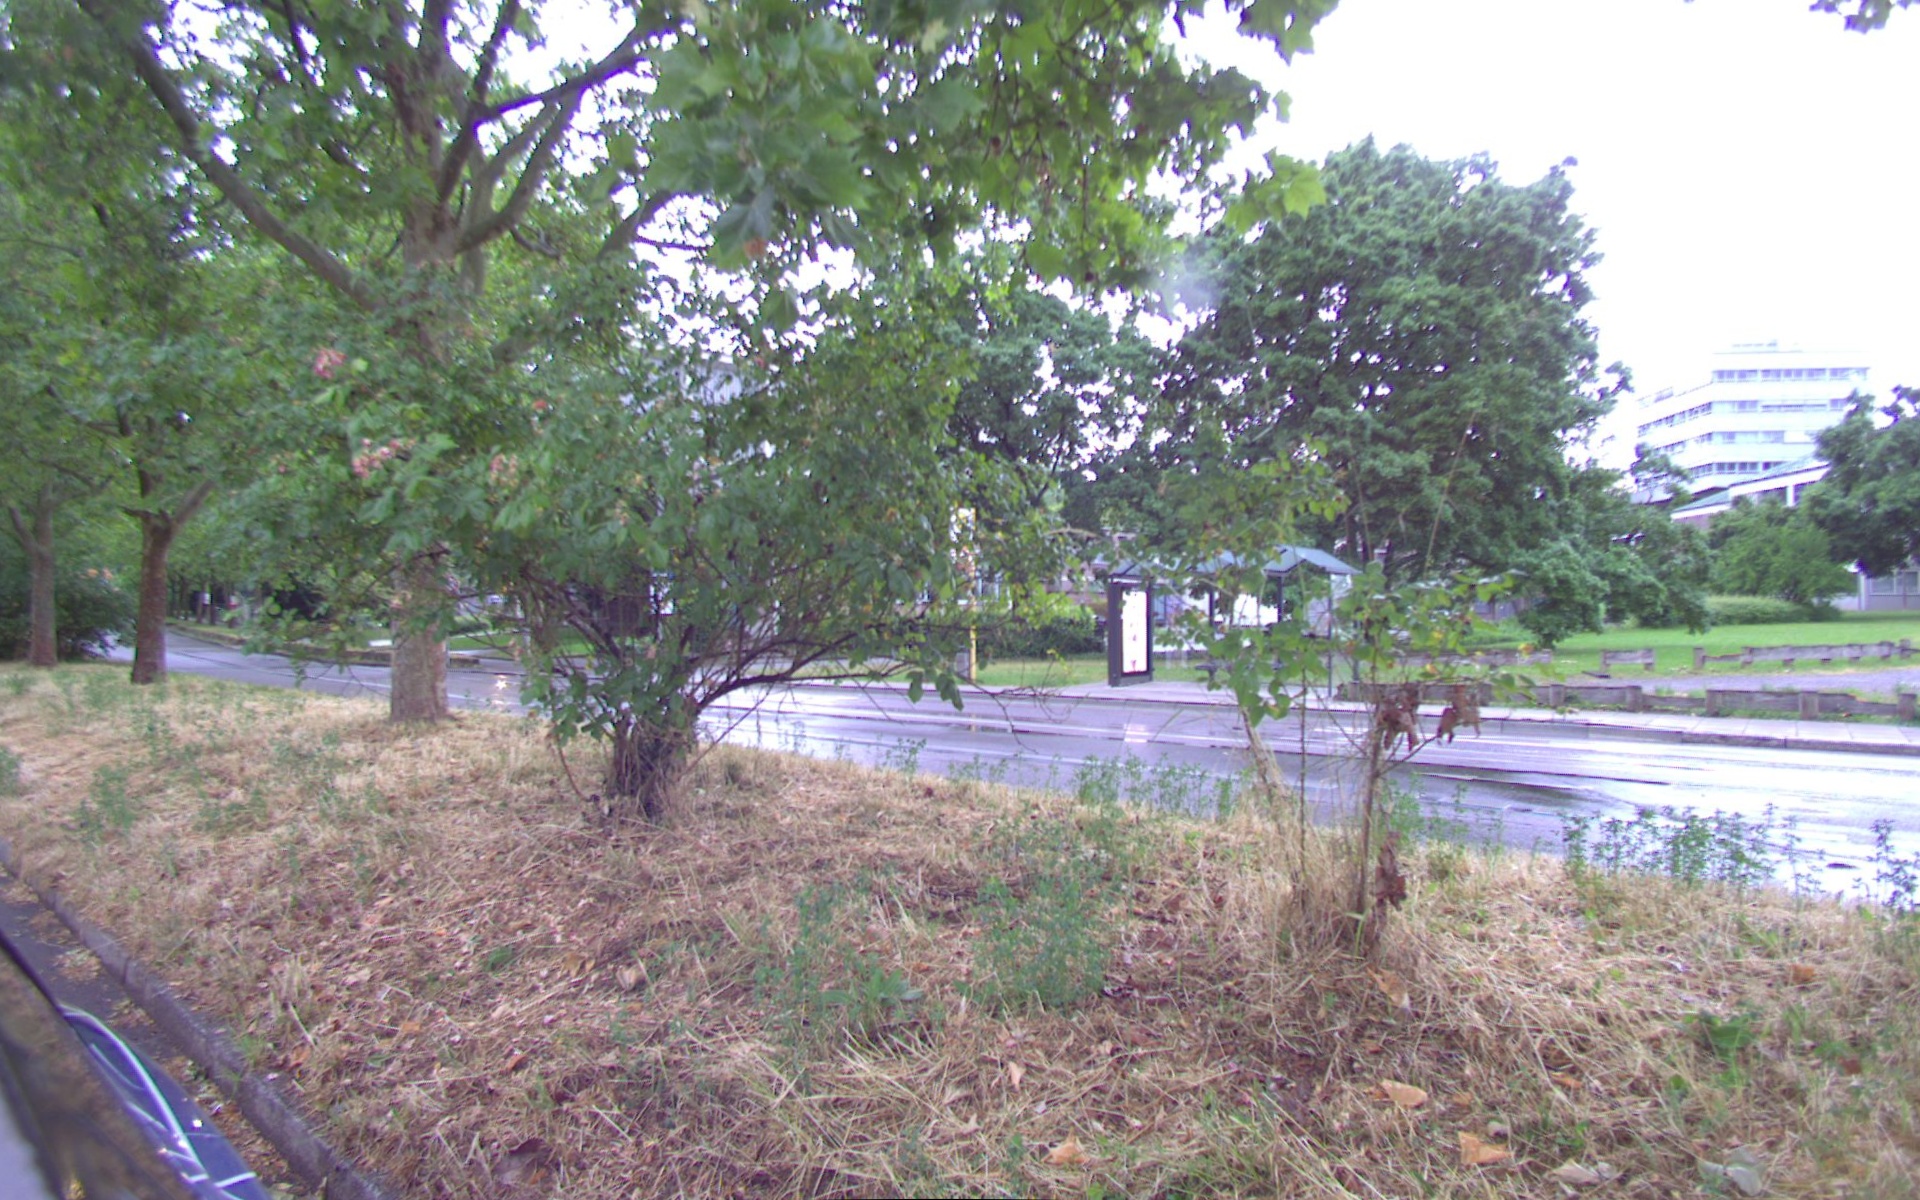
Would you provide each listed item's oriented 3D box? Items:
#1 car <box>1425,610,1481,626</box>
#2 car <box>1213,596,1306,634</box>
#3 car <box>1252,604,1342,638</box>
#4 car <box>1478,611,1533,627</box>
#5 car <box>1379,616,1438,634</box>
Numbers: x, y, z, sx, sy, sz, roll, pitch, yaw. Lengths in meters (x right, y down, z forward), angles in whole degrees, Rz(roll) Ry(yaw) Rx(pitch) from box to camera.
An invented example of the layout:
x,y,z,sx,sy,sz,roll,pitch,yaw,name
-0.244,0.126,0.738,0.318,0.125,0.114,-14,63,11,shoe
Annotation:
x,y,z,sx,sy,sz,roll,pitch,yaw,name
37.708,1.363,77.480,1.566,1.151,3.564,-1,1,-37,car
18.557,0.878,62.985,2.080,2.229,5.483,-1,1,-33,car
21.509,1.291,64.805,2.251,2.037,5.091,-1,1,-36,car
43.942,1.542,81.605,1.566,1.151,3.564,-1,1,-37,car
32.235,1.785,72.763,1.566,1.151,3.564,-1,1,-37,car
